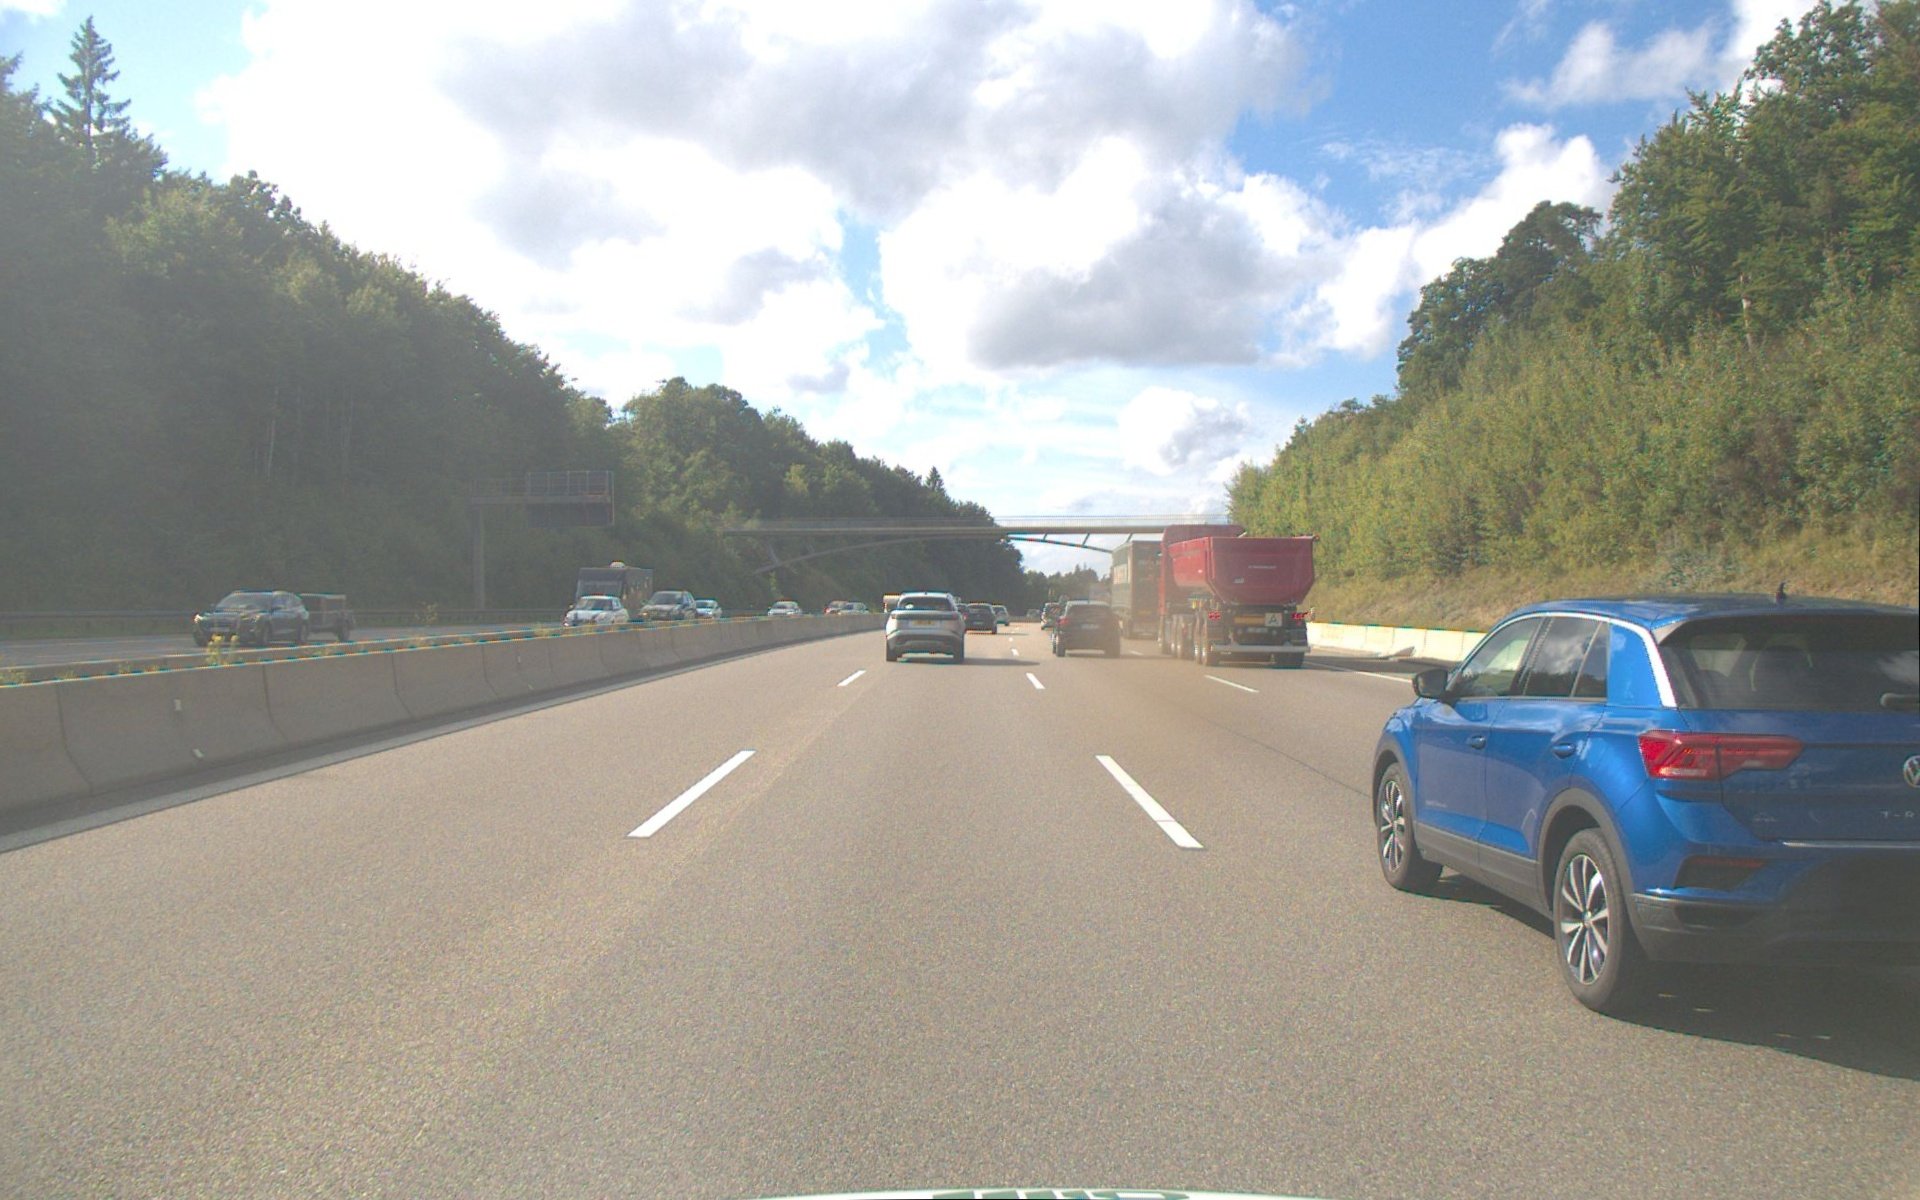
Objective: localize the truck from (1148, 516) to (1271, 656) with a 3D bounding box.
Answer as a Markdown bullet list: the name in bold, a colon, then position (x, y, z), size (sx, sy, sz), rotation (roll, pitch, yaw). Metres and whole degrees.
- **truck**: position (7.138, -0.380, 48.044), size (2.654, 3.784, 5.817), rotation (1, 0, 0)

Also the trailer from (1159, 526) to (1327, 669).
- **trailer**: position (7.131, -0.075, 43.127), size (2.654, 3.288, 9.732), rotation (1, 0, 0)

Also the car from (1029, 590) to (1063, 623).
- **car**: position (5.016, 0.372, 96.761), size (1.854, 1.889, 4.101), rotation (1, 0, 1)

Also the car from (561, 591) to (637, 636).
- **car**: position (-13.108, 0.465, 60.269), size (1.778, 1.562, 4.316), rotation (1, 0, 0)

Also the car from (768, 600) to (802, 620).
- **car**: position (-11.650, 0.655, 110.460), size (1.807, 1.319, 4.258), rotation (1, 0, 0)

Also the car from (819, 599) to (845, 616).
- **car**: position (-10.396, 0.611, 134.384), size (1.807, 1.319, 4.258), rotation (1, 0, 0)

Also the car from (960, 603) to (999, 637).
- **car**: position (0.950, 0.948, 80.395), size (1.785, 1.573, 4.000), rotation (2, 0, 1)

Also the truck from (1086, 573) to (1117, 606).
- **truck**: position (13.285, -0.950, 155.426), size (2.784, 2.976, 8.391), rotation (1, 0, 5)

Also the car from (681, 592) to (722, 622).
- **car**: position (-15.822, 0.403, 101.281), size (1.807, 1.774, 4.258), rotation (1, 0, 0)

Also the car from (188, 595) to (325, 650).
- **car**: position (-19.050, 0.571, 45.017), size (1.776, 1.414, 4.934), rotation (1, 0, -3)

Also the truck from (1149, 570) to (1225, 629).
- **truck**: position (11.307, -0.008, 83.080), size (2.655, 2.787, 8.053), rotation (1, 0, 0)

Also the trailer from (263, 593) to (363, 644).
- **trailer**: position (-19.247, 0.519, 49.376), size (1.625, 1.438, 3.708), rotation (1, 0, -2)

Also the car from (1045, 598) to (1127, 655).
- **car**: position (3.484, 0.706, 46.368), size (1.786, 1.483, 3.998), rotation (1, 0, -3)

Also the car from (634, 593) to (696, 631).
- **car**: position (-13.026, 0.510, 73.316), size (1.883, 1.567, 4.702), rotation (1, 0, 0)

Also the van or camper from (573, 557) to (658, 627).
- **van or camper**: position (-16.486, -0.357, 79.548), size (2.506, 3.180, 7.334), rotation (1, 0, 0)

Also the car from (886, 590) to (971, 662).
- **car**: position (-0.768, 0.594, 41.410), size (1.965, 1.644, 5.300), rotation (1, 1, -1)

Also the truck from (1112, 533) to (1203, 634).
- **truck**: position (8.372, -0.668, 71.362), size (3.053, 4.003, 10.414), rotation (1, 0, 2)

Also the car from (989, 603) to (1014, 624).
- **car**: position (3.011, 0.985, 119.959), size (1.785, 1.483, 4.001), rotation (1, 0, 1)

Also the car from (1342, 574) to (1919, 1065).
- **car**: position (3.174, 0.700, 7.502), size (1.737, 1.557, 4.456), rotation (1, 0, -2)
